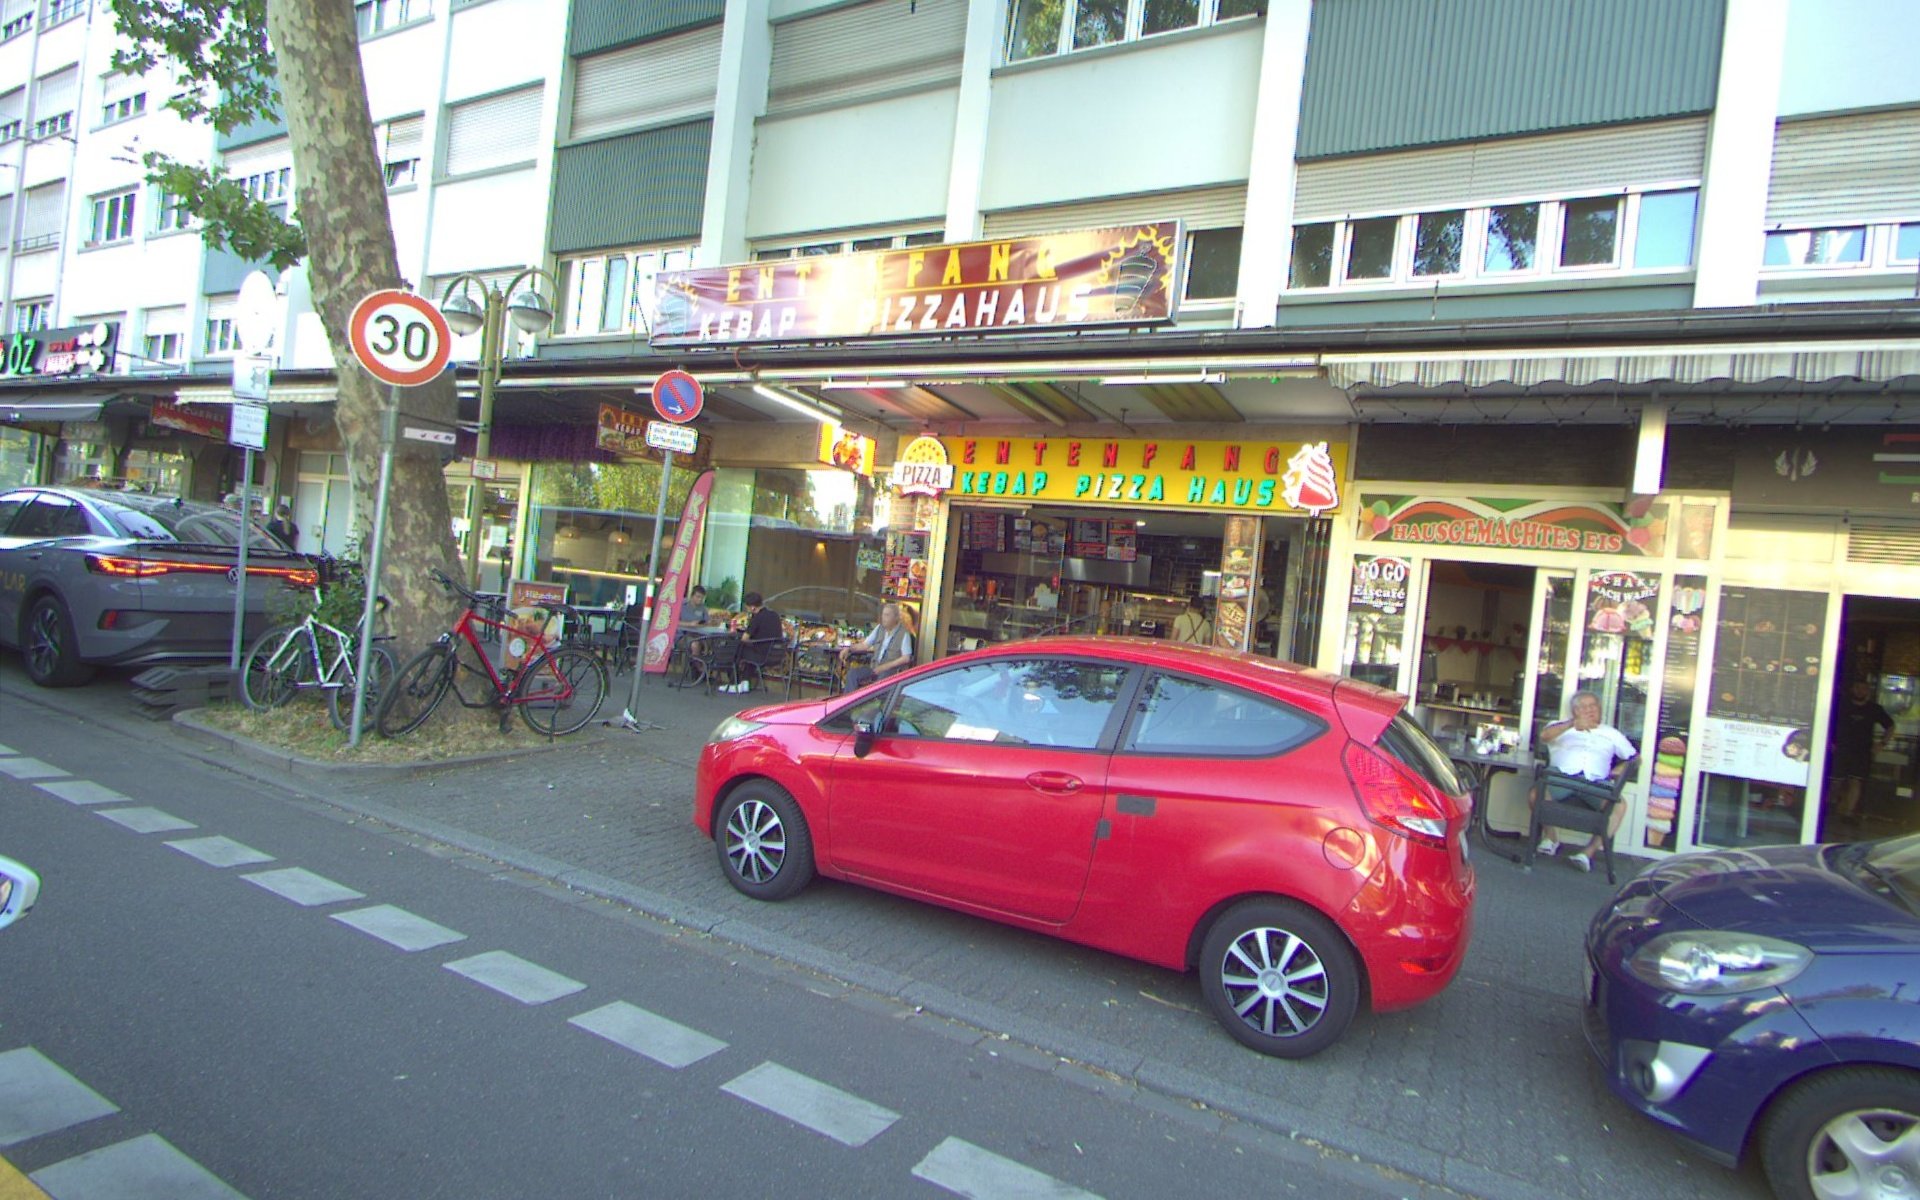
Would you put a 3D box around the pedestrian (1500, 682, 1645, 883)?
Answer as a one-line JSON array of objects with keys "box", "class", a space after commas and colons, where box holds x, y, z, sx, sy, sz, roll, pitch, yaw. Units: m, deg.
[{"box": [4.635, 1.311, 7.603, 0.767, 1.249, 1.202, 6, 2, 33], "class": "pedestrian"}]

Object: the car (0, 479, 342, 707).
[{"box": [-7.842, -0.194, 9.196, 4.223, 1.619, 1.742, 6, 2, 27], "class": "car"}]

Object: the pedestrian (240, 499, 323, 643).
[{"box": [-10.104, -0.424, 14.979, 0.684, 2.038, 0.613, 6, 0, 29], "class": "pedestrian"}]

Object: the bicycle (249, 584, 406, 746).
[{"box": [-4.446, 0.431, 7.061, 1.110, 0.941, 0.295, 9, 6, 21], "class": "bicycle"}]

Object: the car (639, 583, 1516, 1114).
[{"box": [0.476, 0.849, 4.975, 3.780, 1.448, 1.668, 6, 2, 27], "class": "car"}]

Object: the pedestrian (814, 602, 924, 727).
[{"box": [-0.981, 0.683, 10.848, 0.861, 1.237, 0.688, 2, 3, -44], "class": "pedestrian"}]

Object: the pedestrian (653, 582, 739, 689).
[{"box": [-3.238, 0.431, 12.343, 0.694, 1.220, 0.675, 6, 3, 42], "class": "pedestrian"}]

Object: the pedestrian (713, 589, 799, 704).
[{"box": [-2.392, 0.532, 11.780, 0.701, 1.260, 0.614, 6, 3, 41], "class": "pedestrian"}]

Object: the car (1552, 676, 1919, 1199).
[{"box": [3.885, 1.223, 2.914, 3.543, 1.485, 1.620, 7, 2, 29], "class": "car"}]

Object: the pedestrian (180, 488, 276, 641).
[{"box": [-10.278, -0.481, 14.140, 0.684, 2.038, 0.692, 6, 0, 26], "class": "pedestrian"}]

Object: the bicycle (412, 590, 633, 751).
[{"box": [-3.234, 0.513, 7.540, 0.291, 1.082, 1.455, 12, 6, 42], "class": "bicycle"}]

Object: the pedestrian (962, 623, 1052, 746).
[{"box": [0.490, 0.845, 10.363, 0.585, 1.172, 0.671, 6, 3, 31], "class": "pedestrian"}]

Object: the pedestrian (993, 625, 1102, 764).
[{"box": [0.822, 0.855, 9.398, 0.740, 1.172, 0.593, 6, 3, 33], "class": "pedestrian"}]
